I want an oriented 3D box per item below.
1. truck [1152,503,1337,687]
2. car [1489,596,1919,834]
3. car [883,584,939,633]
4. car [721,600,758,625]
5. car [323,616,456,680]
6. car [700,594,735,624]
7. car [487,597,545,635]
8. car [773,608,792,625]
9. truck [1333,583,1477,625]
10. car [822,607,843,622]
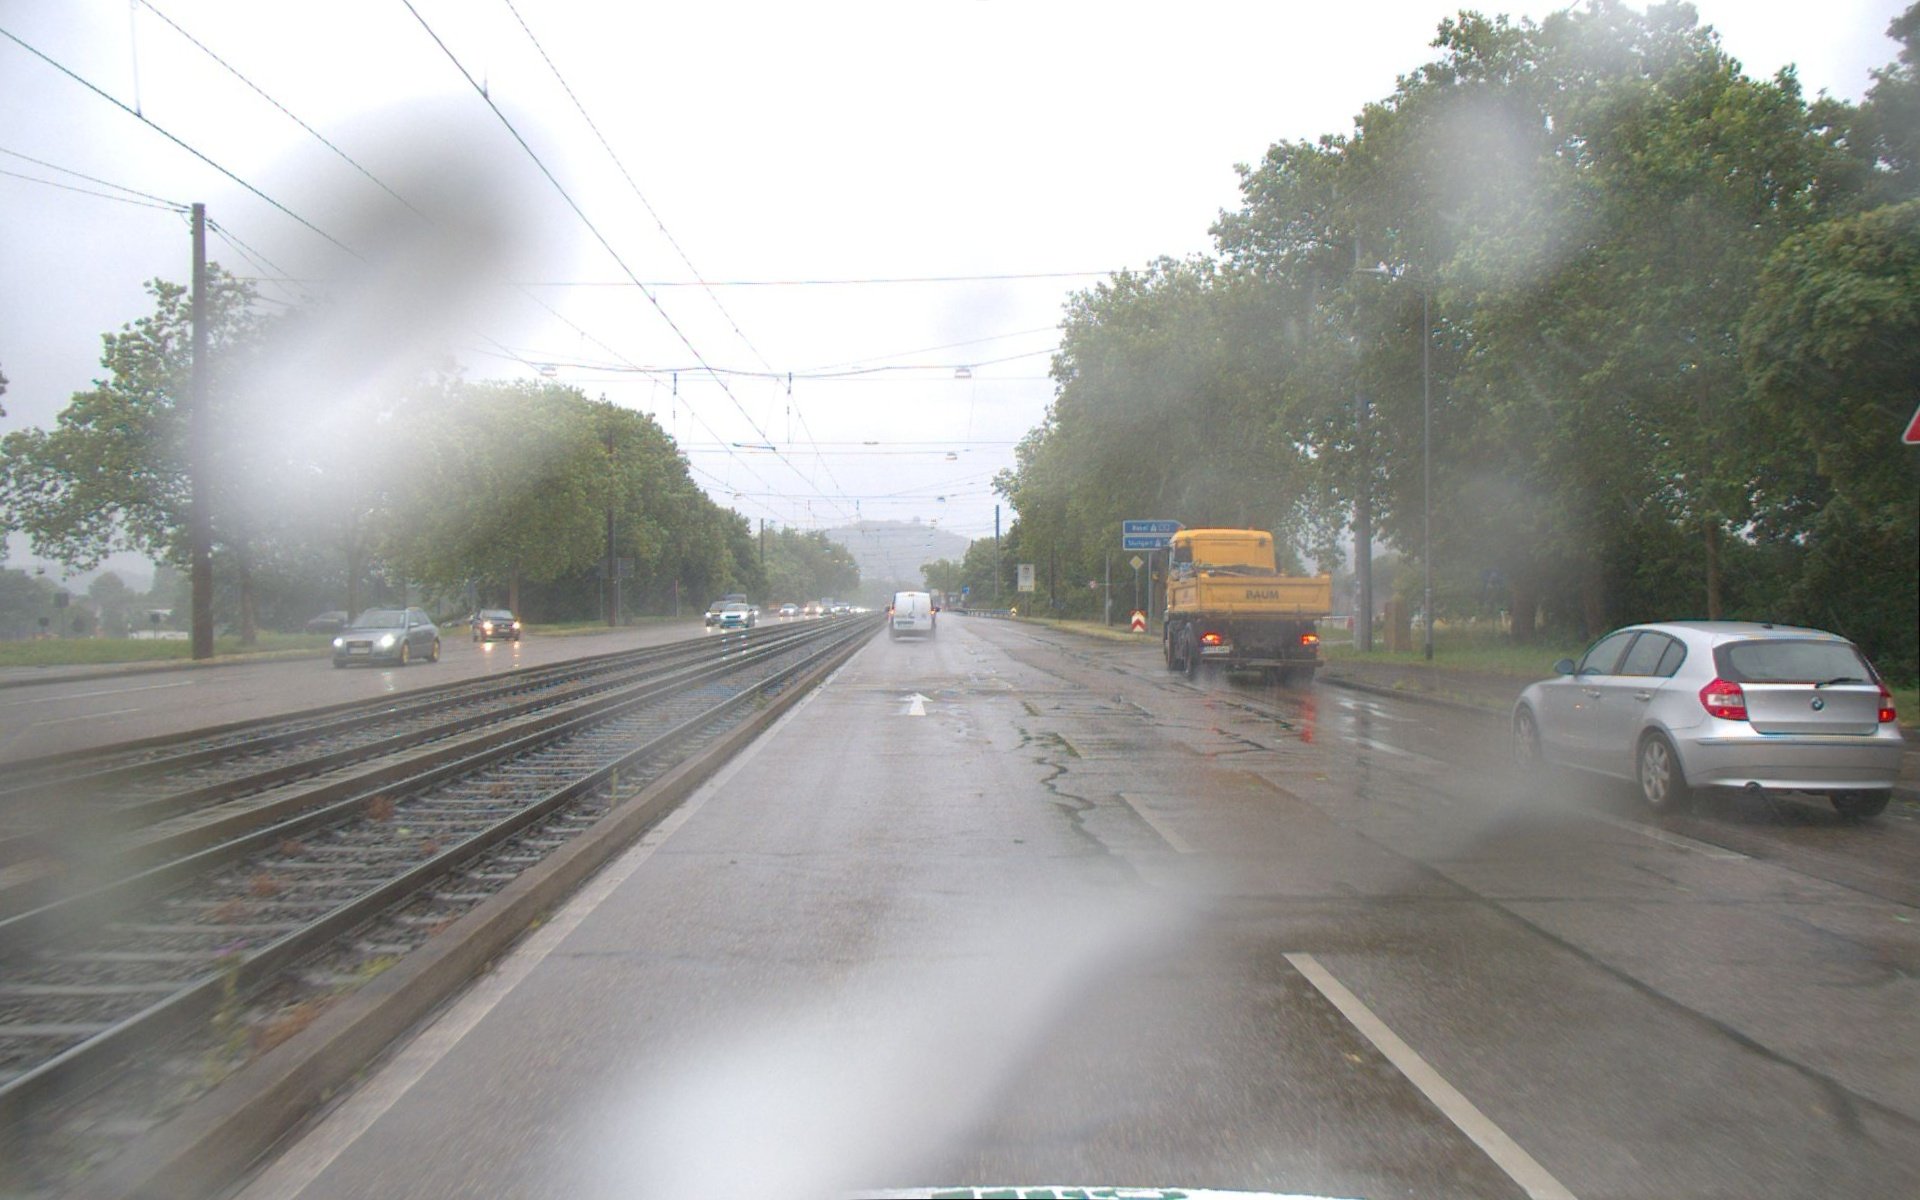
[{"bbox_3d":[5.575,-0.142,33.543,2.503,3.314,6.933,1,1,0],"label":"truck"},{"bbox_3d":[5.933,0.782,13.536,1.593,1.529,4.605,1,1,-2],"label":"car"},{"bbox_3d":[-1.794,0.299,61.472,1.948,1.713,3.740,1,1,0],"label":"car"},{"bbox_3d":[-13.280,0.758,99.881,1.706,1.377,4.545,1,1,-1],"label":"car"},{"bbox_3d":[-14.469,1.179,42.241,1.722,1.386,5.070,1,1,-1],"label":"car"},{"bbox_3d":[-15.960,0.567,109.034,1.849,1.841,5.002,1,1,-3],"label":"car"},{"bbox_3d":[-19.924,0.701,74.352,1.655,1.579,3.999,1,1,-2],"label":"car"},{"bbox_3d":[-20.424,1.893,190.246,1.783,1.735,5.019,1,1,-2],"label":"car"},{"bbox_3d":[53.851,0.520,200.481,16.406,4.231,3.285,-3,-1,29],"label":"truck"},{"bbox_3d":[-14.750,1.641,191.172,1.753,1.576,5.315,1,1,2],"label":"car"}]
